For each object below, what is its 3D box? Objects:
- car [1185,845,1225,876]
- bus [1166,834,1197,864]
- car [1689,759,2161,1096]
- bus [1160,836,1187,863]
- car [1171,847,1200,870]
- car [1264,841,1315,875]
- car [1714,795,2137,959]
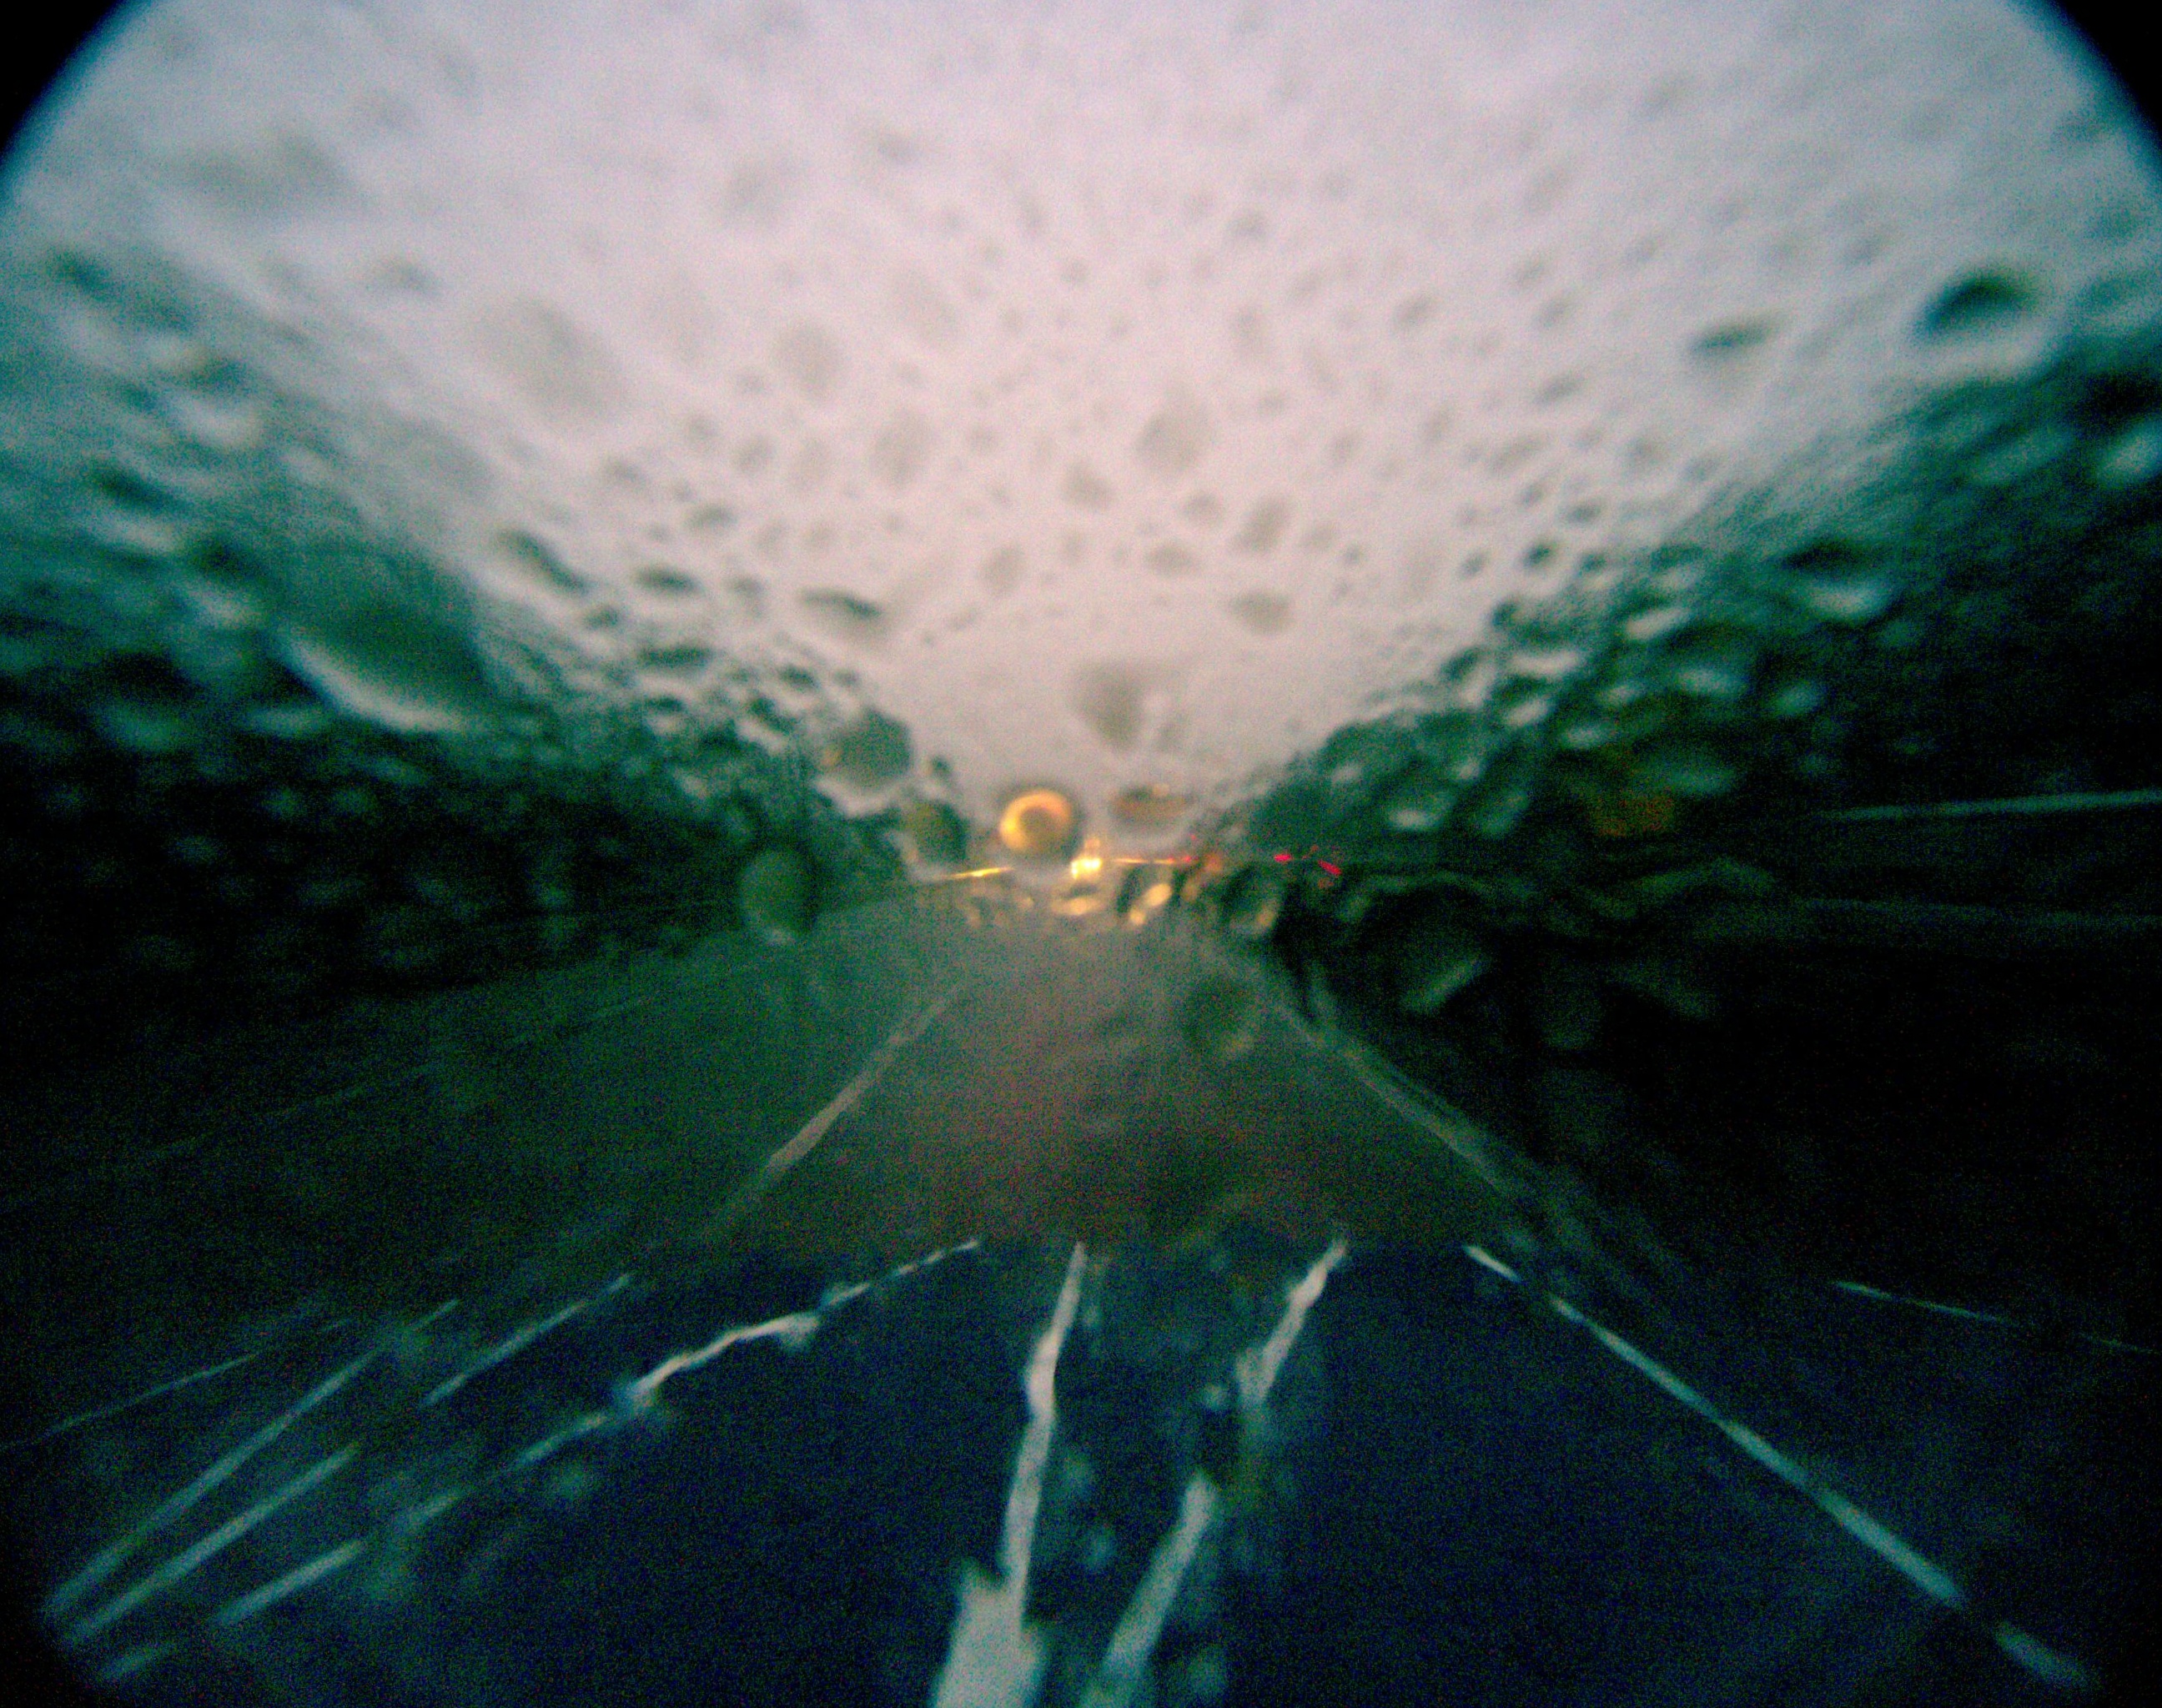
[{"bbox_3d":[8.604,0.419,53.036,1.856,1.971,4.599,-2,0,-1],"label":"car"},{"bbox_3d":[12.751,-0.606,97.060,2.745,3.534,9.155,-2,0,1],"label":"bus"},{"bbox_3d":[7.498,0.419,6.018,1.727,2.075,4.519,-2,0,0],"label":"car"},{"bbox_3d":[12.859,-0.635,106.236,2.733,3.534,9.088,-2,0,1],"label":"bus"},{"bbox_3d":[9.511,0.401,69.397,1.998,2.002,4.729,-2,0,2],"label":"car"},{"bbox_3d":[11.848,0.236,43.467,1.859,1.789,4.000,-2,0,2],"label":"car"},{"bbox_3d":[11.464,0.263,10.794,1.635,1.855,3.896,-2,0,0],"label":"car"}]
